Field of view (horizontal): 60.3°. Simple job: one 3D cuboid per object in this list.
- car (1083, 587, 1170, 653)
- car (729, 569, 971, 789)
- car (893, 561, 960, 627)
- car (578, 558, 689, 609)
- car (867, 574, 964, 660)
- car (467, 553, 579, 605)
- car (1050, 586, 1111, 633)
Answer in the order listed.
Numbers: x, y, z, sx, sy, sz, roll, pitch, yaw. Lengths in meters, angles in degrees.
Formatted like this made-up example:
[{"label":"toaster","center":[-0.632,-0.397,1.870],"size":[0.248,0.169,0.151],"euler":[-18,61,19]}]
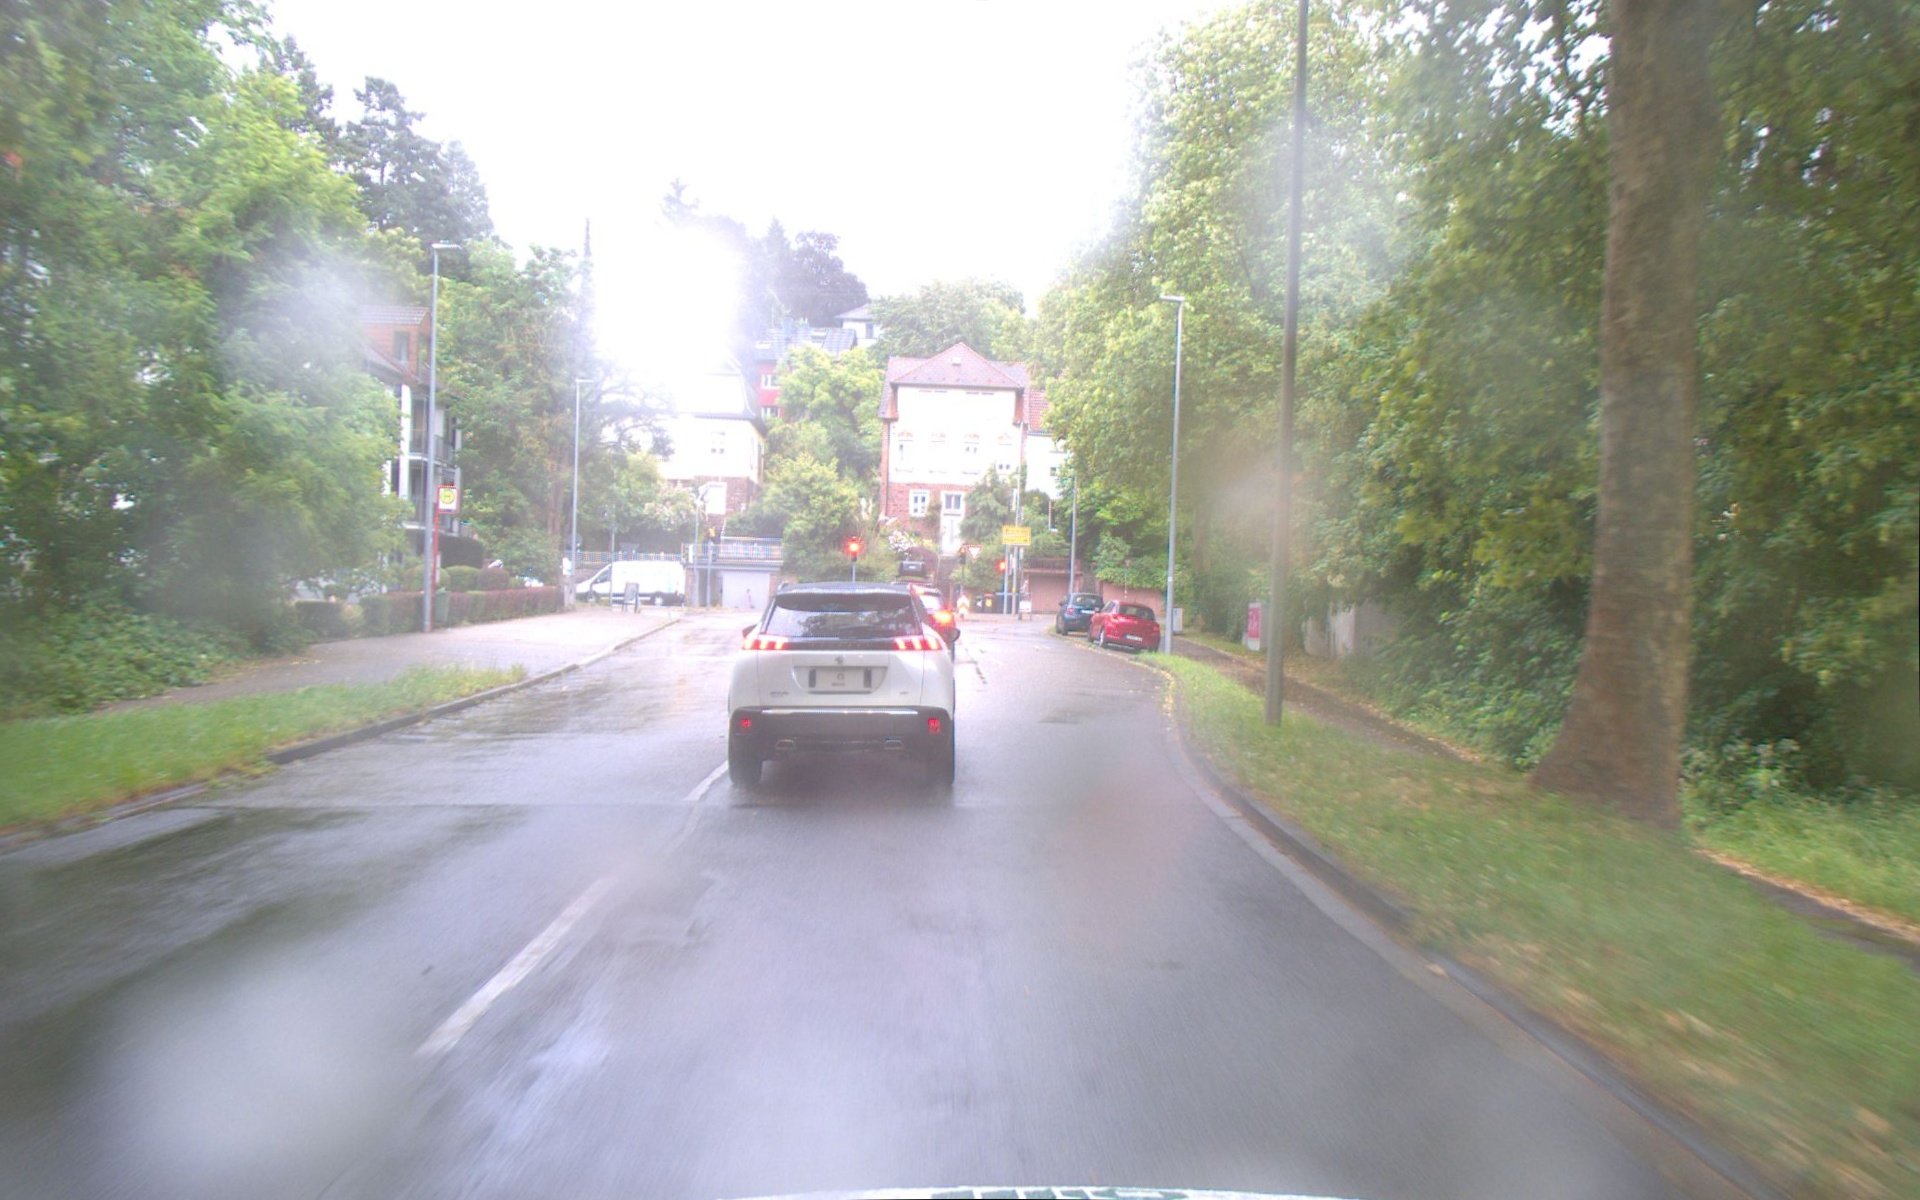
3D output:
[{"label":"car","center":[4.953,0.560,49.682],"size":[1.785,1.542,3.741],"euler":[9,2,-4]},{"label":"car","center":[-0.851,0.551,14.065],"size":[1.717,1.562,4.366],"euler":[1,0,-2]},{"label":"car","center":[-1.031,-0.218,48.186],"size":[1.725,1.740,4.598],"euler":[3,1,-3]},{"label":"car","center":[-17.958,-0.883,91.164],"size":[5.545,2.538,2.315],"euler":[3,-1,0]},{"label":"car","center":[-0.915,0.289,34.408],"size":[1.795,1.481,4.658],"euler":[4,1,-1]},{"label":"car","center":[-24.052,-1.134,91.232],"size":[5.449,2.538,2.315],"euler":[3,-1,0]},{"label":"car","center":[4.278,0.315,59.137],"size":[1.714,1.517,3.598],"euler":[4,0,-2]}]
